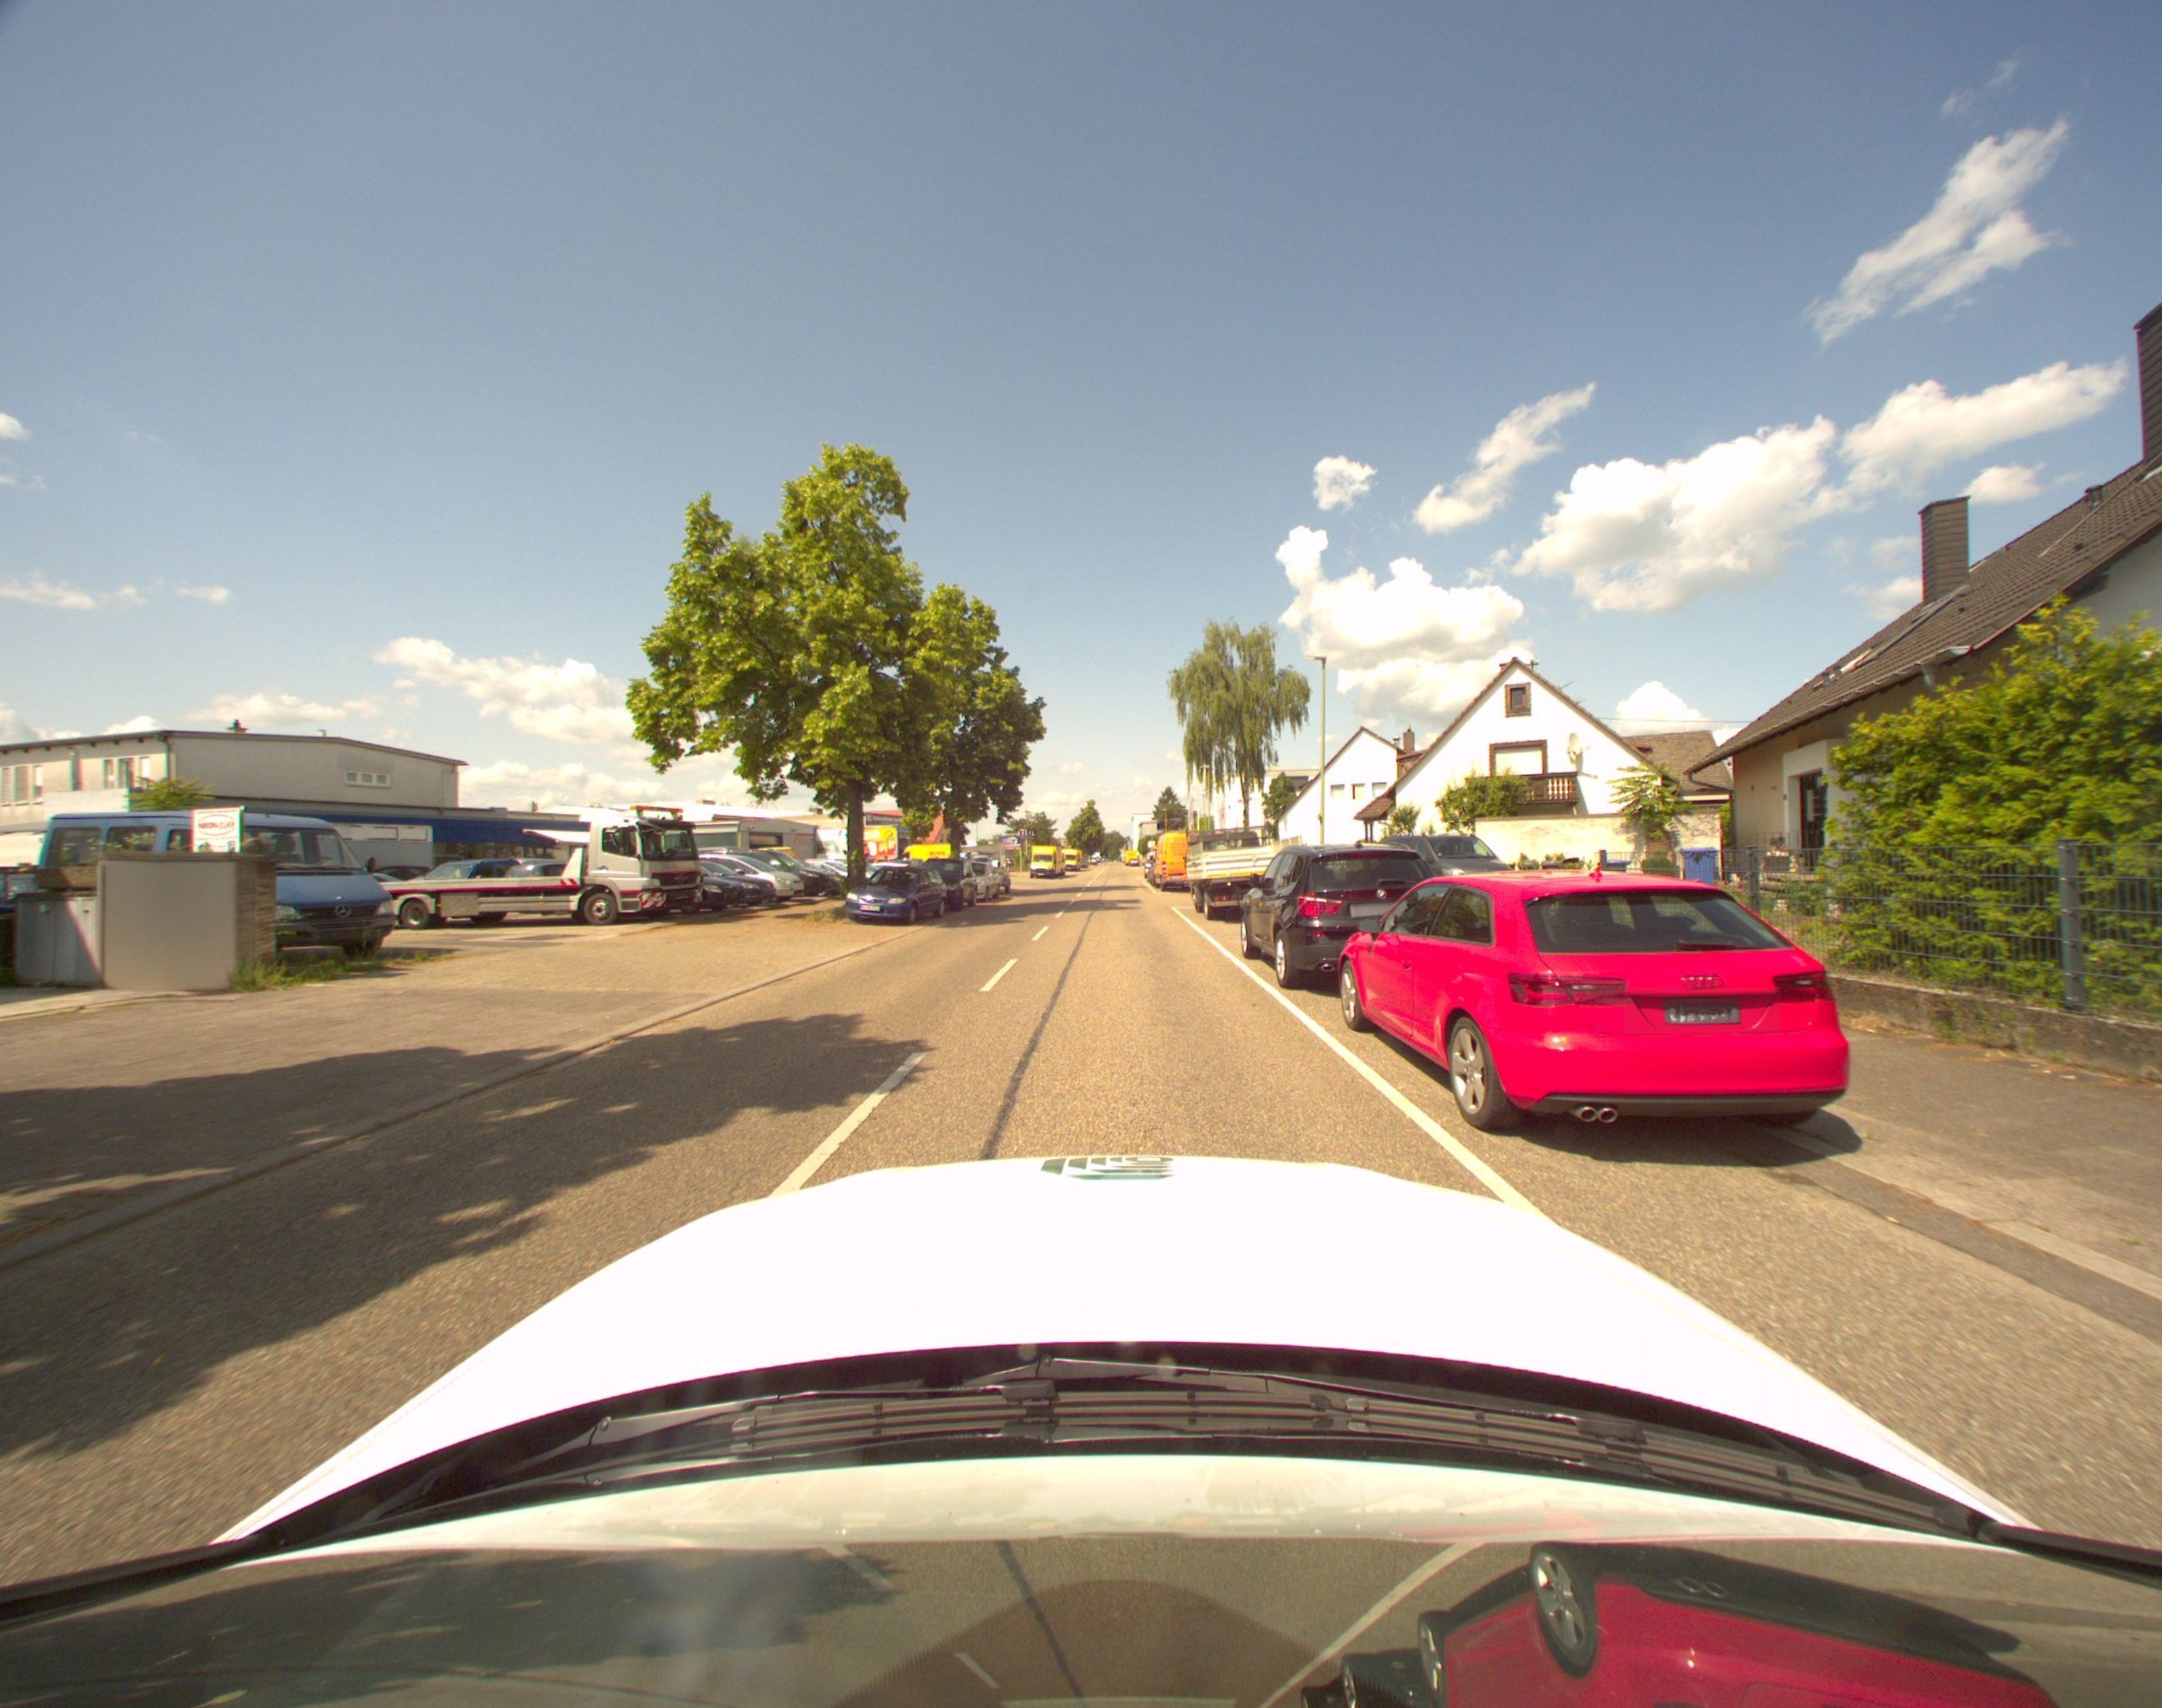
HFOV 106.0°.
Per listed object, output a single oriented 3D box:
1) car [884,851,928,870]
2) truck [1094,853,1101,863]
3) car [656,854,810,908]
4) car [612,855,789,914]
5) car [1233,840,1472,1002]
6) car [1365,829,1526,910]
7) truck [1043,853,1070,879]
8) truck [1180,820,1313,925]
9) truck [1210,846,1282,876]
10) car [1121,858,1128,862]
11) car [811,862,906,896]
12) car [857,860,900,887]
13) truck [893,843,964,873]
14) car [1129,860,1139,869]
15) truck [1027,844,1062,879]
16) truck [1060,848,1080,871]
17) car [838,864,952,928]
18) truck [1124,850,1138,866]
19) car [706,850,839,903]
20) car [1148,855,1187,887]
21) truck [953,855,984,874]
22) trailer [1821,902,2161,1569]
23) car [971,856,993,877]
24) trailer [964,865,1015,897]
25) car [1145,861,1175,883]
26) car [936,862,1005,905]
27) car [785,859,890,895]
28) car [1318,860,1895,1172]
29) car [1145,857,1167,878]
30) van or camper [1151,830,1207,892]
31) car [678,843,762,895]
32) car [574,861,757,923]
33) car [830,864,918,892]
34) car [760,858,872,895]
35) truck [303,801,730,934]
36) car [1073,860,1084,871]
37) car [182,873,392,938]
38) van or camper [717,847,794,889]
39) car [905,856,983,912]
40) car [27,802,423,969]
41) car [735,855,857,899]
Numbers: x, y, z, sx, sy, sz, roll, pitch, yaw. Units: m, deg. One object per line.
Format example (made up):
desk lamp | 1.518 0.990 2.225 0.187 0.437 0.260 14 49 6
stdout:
car | -17.111 0.638 79.771 3.816 1.731 1.738 -1 0 13
truck | 5.273 1.228 258.854 2.021 3.154 6.504 -1 0 2
car | -11.532 0.880 27.185 4.279 1.614 1.828 -1 0 1
car | -11.572 0.900 24.955 4.504 1.582 1.829 -2 0 4
car | 3.243 0.709 10.744 1.822 1.662 4.557 -1 0 3
car | 9.500 0.372 21.752 1.852 1.865 5.016 -1 0 -2
truck | -2.366 1.133 78.862 1.985 2.413 6.070 -1 0 4
truck | 4.105 0.431 21.386 2.512 2.299 5.899 -2 0 3
truck | 14.979 0.584 74.094 6.067 2.577 2.546 -1 0 -24
car | 13.267 1.779 247.027 1.921 1.310 4.002 -1 0 2
car | -10.709 1.197 39.377 4.007 1.490 1.829 -2 -1 5
car | -12.931 1.228 52.220 1.434 1.656 3.310 -2 0 10
truck | -15.479 0.410 82.655 6.549 2.850 2.539 1 0 15
car | 9.255 1.812 142.913 1.645 1.387 4.425 0 0 3
truck | -3.105 0.632 70.993 2.210 2.857 7.076 0 0 4
truck | -1.348 0.769 104.562 2.260 2.855 7.176 0 -1 2
car | -4.862 1.048 21.902 1.690 1.483 4.166 1 0 6
truck | 9.491 0.737 154.481 2.465 2.940 7.190 0 0 1
car | -11.248 0.807 29.879 4.124 1.788 1.829 -2 -1 5
car | 4.703 0.876 44.581 1.825 1.640 4.242 -1 0 2
truck | -15.780 1.439 114.275 2.094 2.488 5.744 -1 0 16
trailer | 3.049 0.833 0.338 1.601 1.378 4.435 -1 0 3
car | -8.829 1.081 72.968 1.826 1.705 4.698 -1 2 -6
trailer | -4.155 1.195 37.450 1.756 1.289 4.507 2 0 0
car | 5.046 1.128 52.340 1.663 1.335 4.440 -1 0 2
car | -4.317 1.112 32.442 1.825 1.528 4.241 1 0 4
car | -10.902 1.035 36.614 4.124 1.490 1.829 -2 -1 5
car | 3.052 0.776 5.889 1.677 1.435 4.150 -1 0 3
car | 5.668 0.989 62.113 1.603 1.580 4.004 0 0 4
van or camper | 4.532 0.314 38.456 1.987 2.664 5.769 -1 0 1
car | -15.013 0.600 34.142 1.705 2.013 3.999 -1 0 0
car | -11.417 1.023 22.541 4.178 1.459 1.680 -2 0 4
car | -10.662 1.216 42.157 4.005 1.374 1.831 -1 0 7
car | -11.217 0.945 34.638 4.124 1.431 1.829 -2 -1 5
truck | -13.981 0.352 20.496 9.210 2.856 2.725 -2 0 6
car | -0.345 1.872 132.688 1.718 1.604 4.414 2 0 1
car | -20.876 1.293 21.645 1.633 1.479 3.767 -1 0 8
van or camper | -20.727 0.852 52.164 1.981 2.475 5.376 -1 1 10
car | -4.481 0.918 27.202 1.686 1.700 4.402 1 0 2
car | -13.066 0.484 12.515 4.964 2.232 2.008 -1 -2 15
car | -11.287 0.900 32.402 4.124 1.618 1.829 -2 -1 5
